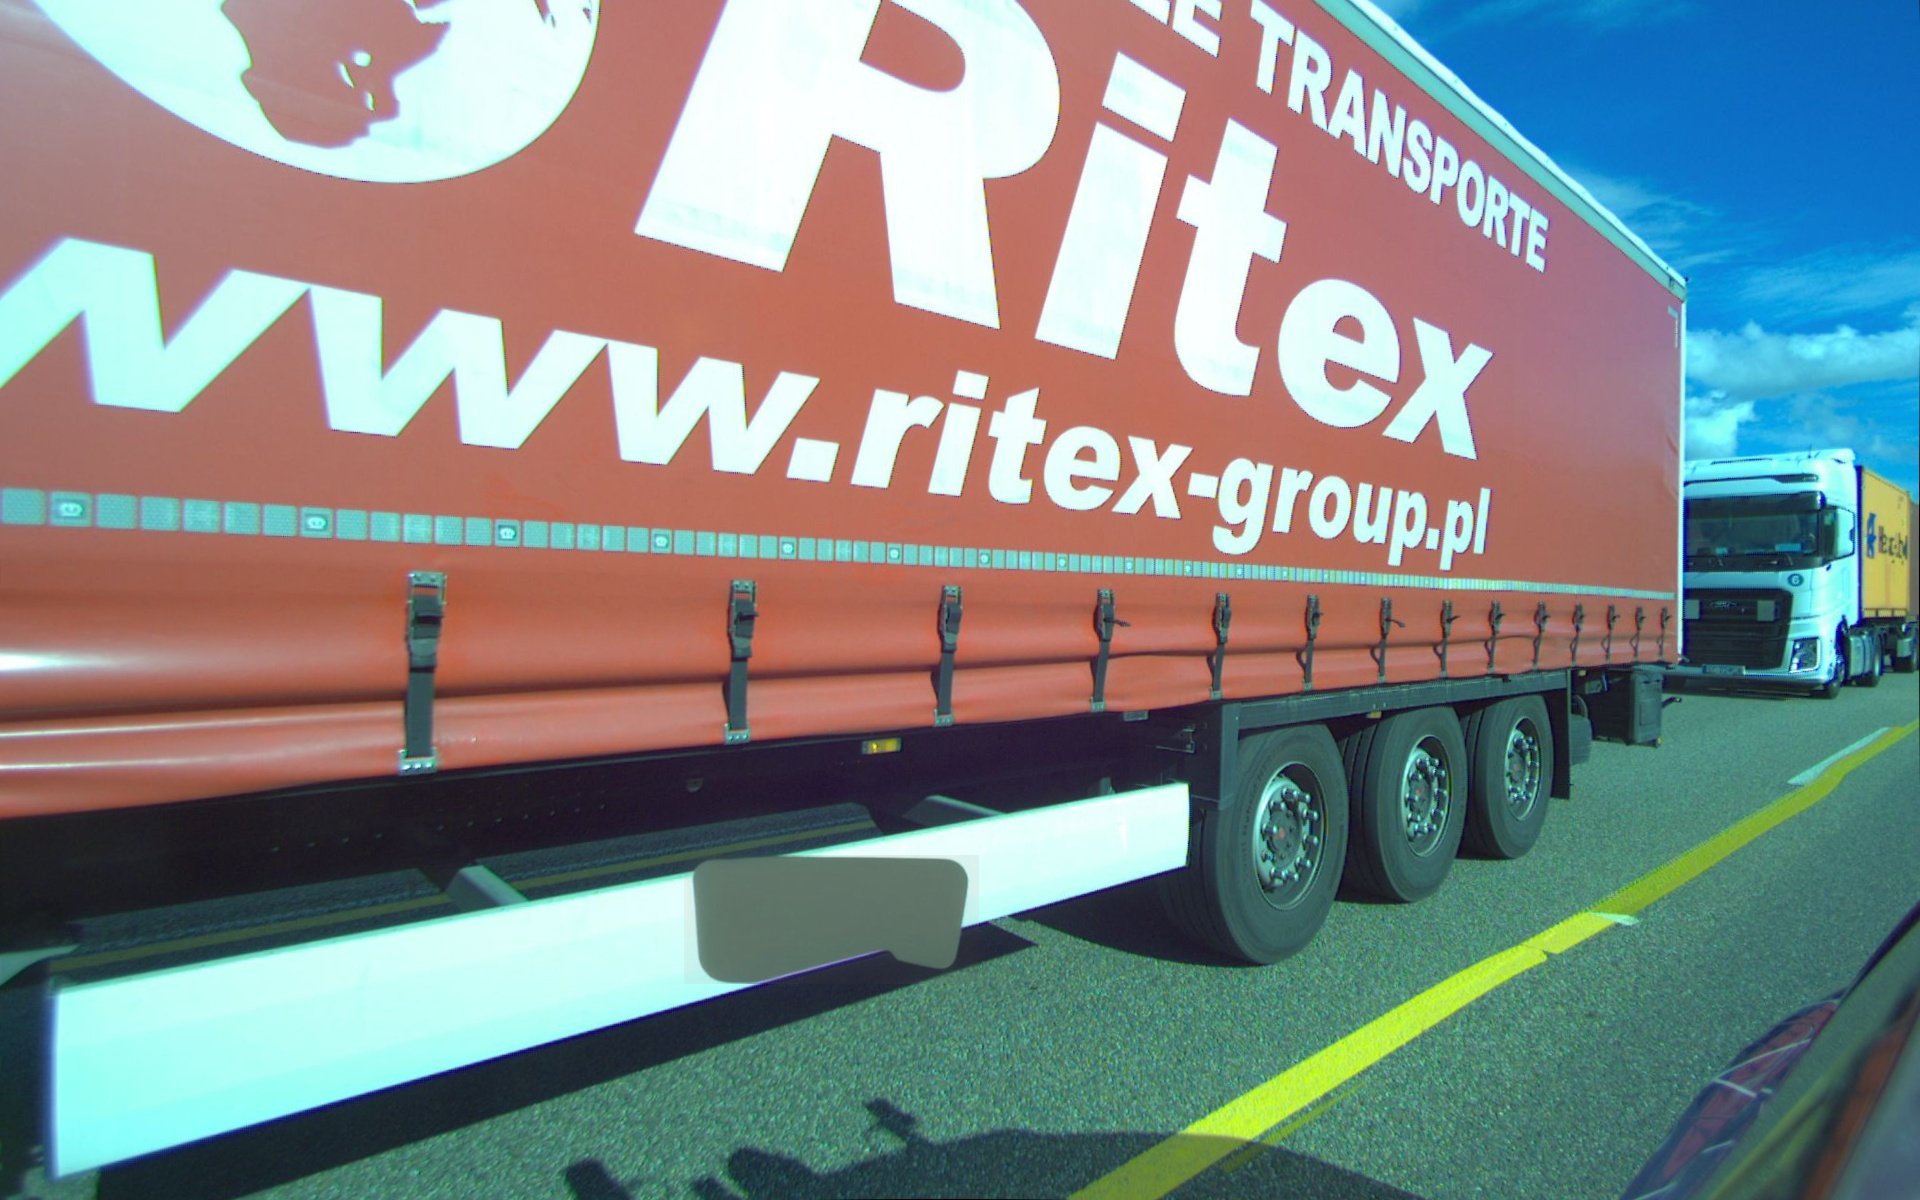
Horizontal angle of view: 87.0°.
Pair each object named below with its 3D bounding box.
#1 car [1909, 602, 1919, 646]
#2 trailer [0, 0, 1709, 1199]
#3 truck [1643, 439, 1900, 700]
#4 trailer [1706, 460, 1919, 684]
[{"bbox_3d":[32.372,0.770,32.791,4.399,1.367,1.932,0,0,-41],"label":"car"},{"bbox_3d":[-0.005,-0.510,4.479,13.185,4.019,2.704,0,0,-42],"label":"trailer"},{"bbox_3d":[14.261,-0.470,17.644,5.688,3.828,2.499,0,0,-41],"label":"truck"},{"bbox_3d":[19.490,-0.489,22.142,11.921,3.823,2.476,0,0,-41],"label":"trailer"}]
